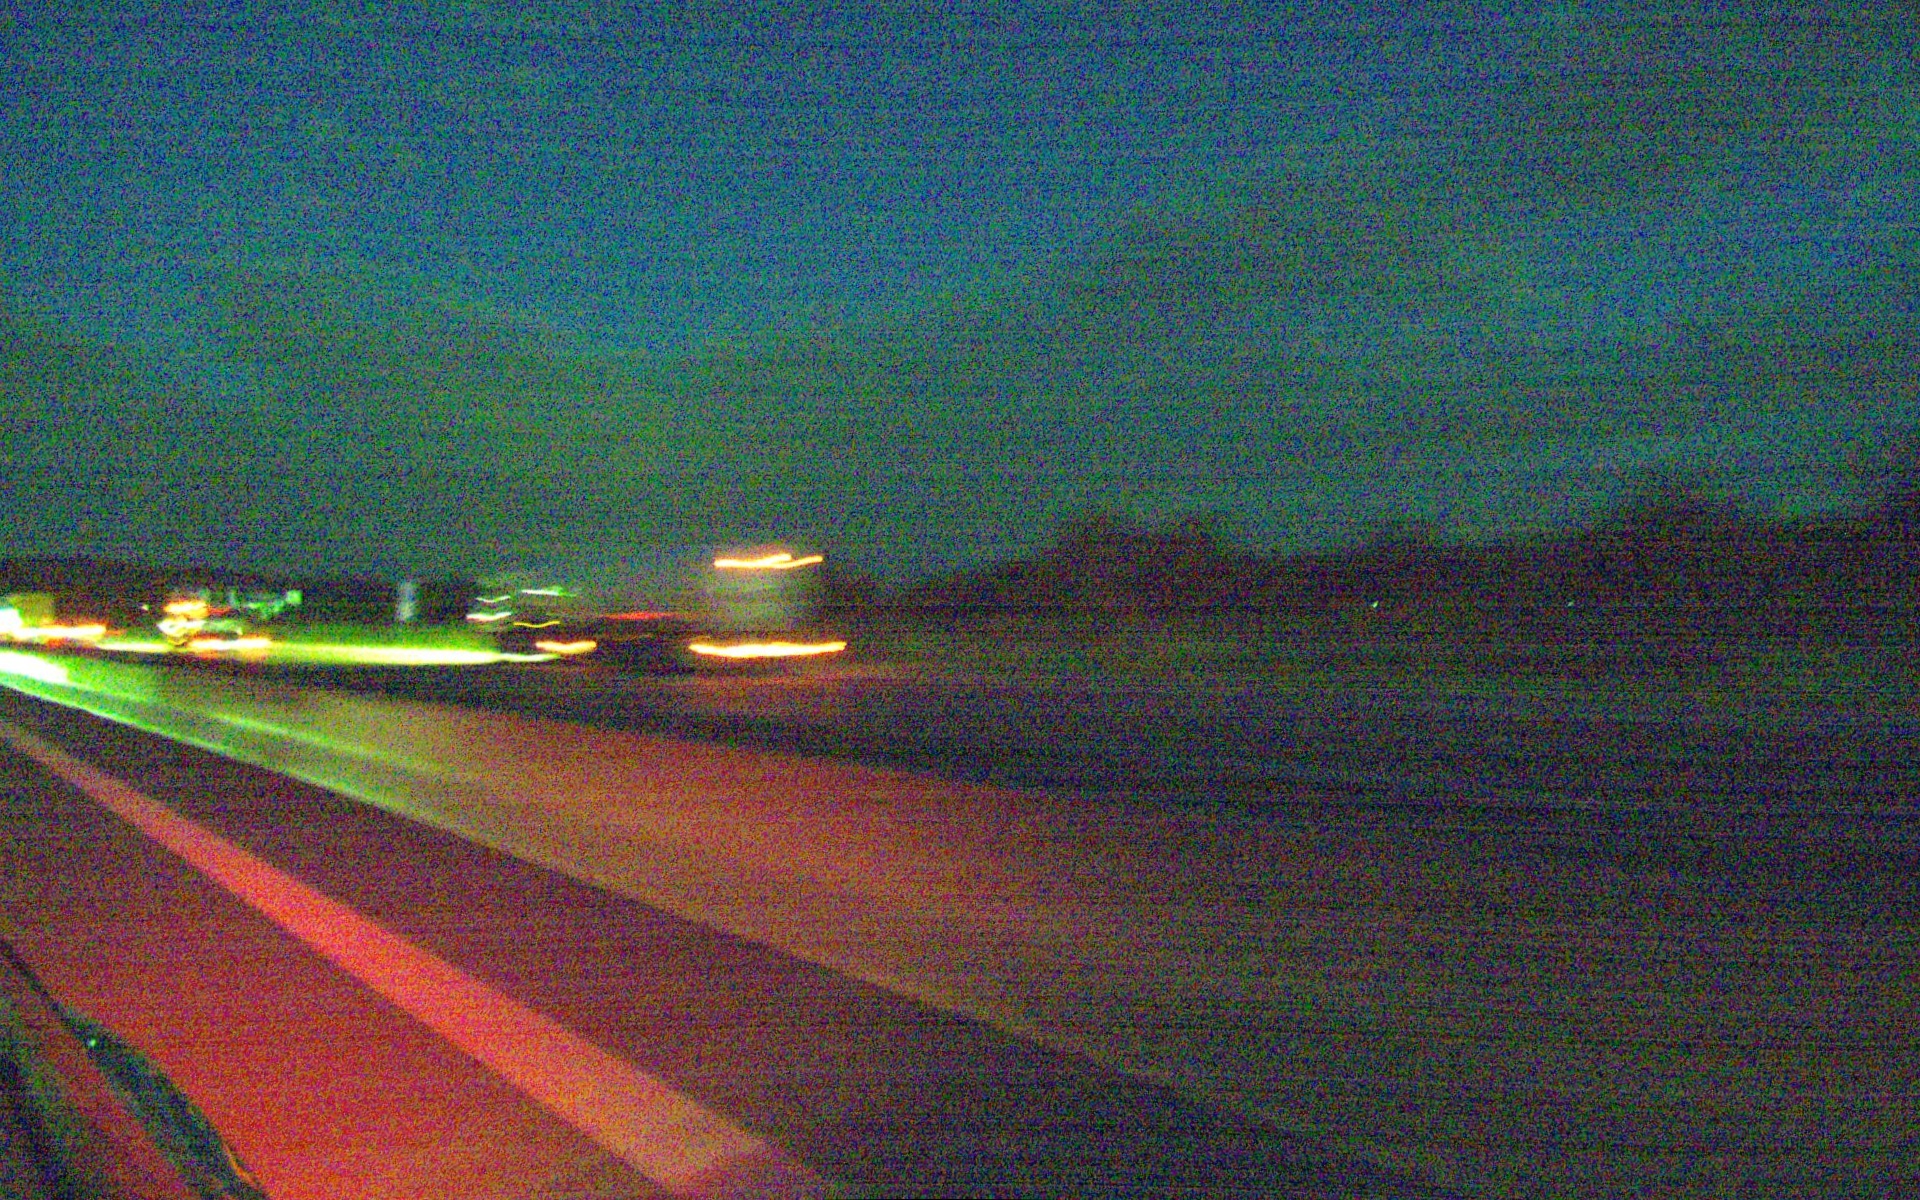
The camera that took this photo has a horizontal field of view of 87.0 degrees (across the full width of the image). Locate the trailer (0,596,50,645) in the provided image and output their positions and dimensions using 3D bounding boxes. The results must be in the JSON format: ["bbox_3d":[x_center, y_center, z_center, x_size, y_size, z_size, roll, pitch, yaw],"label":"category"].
[{"bbox_3d":[-89.415,1.921,96.324,8.595,4.472,3.019,-1,-1,40],"label":"trailer"}]

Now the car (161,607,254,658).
[{"bbox_3d":[-35.081,1.477,47.076,6.962,2.214,2.031,-1,-1,41],"label":"car"}]

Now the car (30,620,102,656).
[{"bbox_3d":[-43.028,1.808,48.684,4.694,1.635,2.044,-1,-1,42],"label":"car"}]

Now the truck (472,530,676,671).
[{"bbox_3d":[-12.502,0.037,32.510,6.773,4.037,3.400,-1,-1,42],"label":"truck"}]

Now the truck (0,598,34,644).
[{"bbox_3d":[-96.688,2.132,102.512,10.416,4.472,3.019,-1,-1,40],"label":"truck"}]

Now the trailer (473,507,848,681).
[{"bbox_3d":[-9.499,-0.057,29.797,14.756,4.037,3.400,-1,-1,42],"label":"trailer"}]
